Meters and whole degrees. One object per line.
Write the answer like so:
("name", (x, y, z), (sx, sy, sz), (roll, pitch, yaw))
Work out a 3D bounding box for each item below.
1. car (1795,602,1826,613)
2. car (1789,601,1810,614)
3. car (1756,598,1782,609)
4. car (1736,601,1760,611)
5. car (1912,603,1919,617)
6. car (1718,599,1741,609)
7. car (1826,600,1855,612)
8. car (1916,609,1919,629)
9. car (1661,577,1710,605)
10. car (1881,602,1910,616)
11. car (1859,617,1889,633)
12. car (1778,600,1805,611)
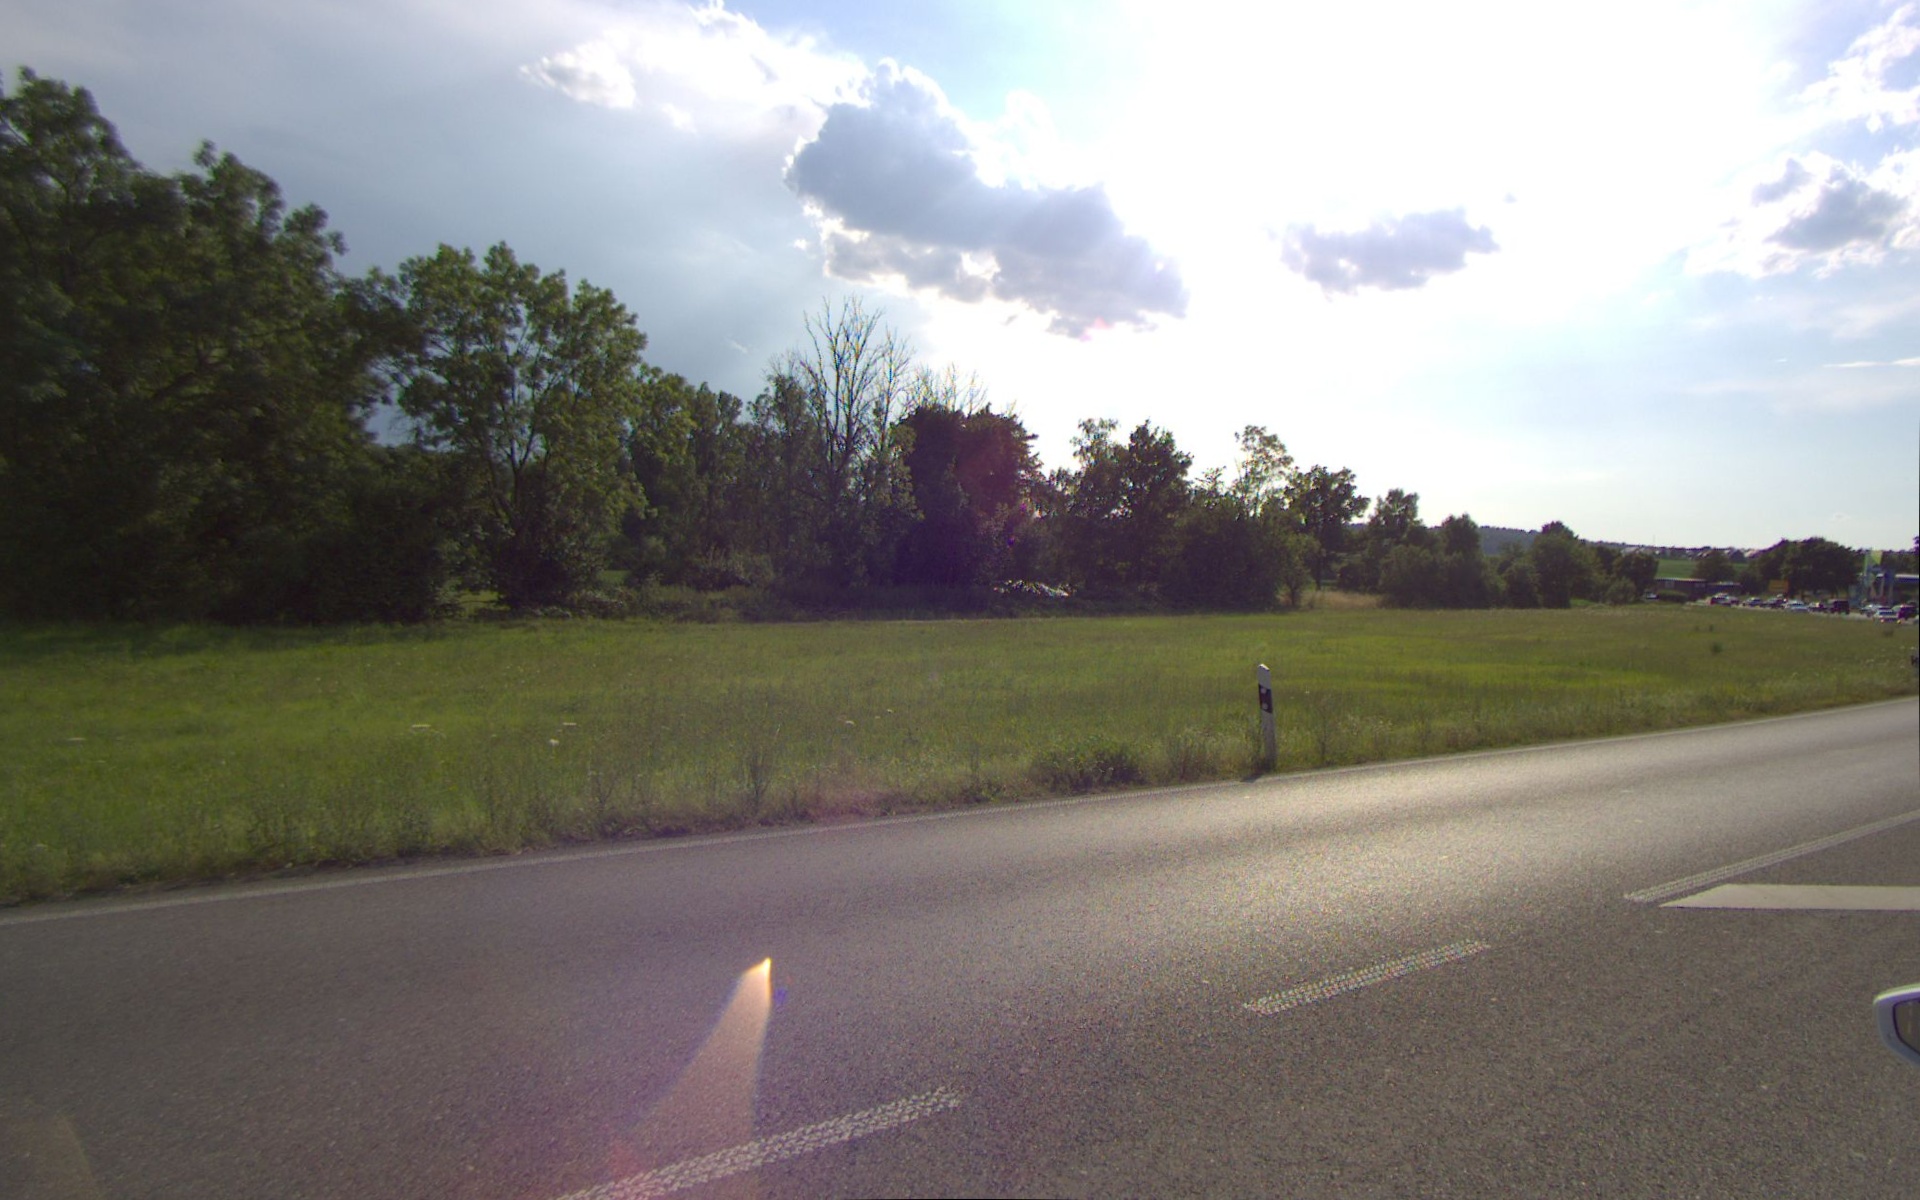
("car", (126.644, 1.100, 149.582), (2.050, 1.621, 4.001), (2, 1, 17))
("car", (114.531, 1.073, 137.064), (1.816, 1.678, 3.989), (2, 0, 34))
("car", (130.247, 0.524, 161.736), (1.850, 1.621, 4.001), (2, 1, 17))
("car", (133.158, 0.958, 169.732), (1.850, 1.621, 4.001), (2, 1, 17))
("car", (118.489, 1.252, 123.010), (2.056, 1.621, 3.989), (2, 1, 33))
("car", (134.954, 0.689, 176.151), (1.850, 1.621, 4.001), (2, 1, 17))
("car", (121.055, 0.826, 138.079), (2.053, 1.621, 3.994), (2, 1, 27))
("car", (86.318, 1.724, 88.979), (4.391, 1.748, 1.976), (0, 1, -41))
("car", (139.307, -1.715, 193.117), (3.481, 5.127, 13.245), (2, 1, 17))
("car", (112.627, 1.090, 120.998), (1.856, 1.621, 3.988), (2, 1, 33))
("car", (96.485, 2.642, 106.080), (1.816, 1.678, 3.988), (2, 0, 35))
("car", (128.700, 0.811, 155.478), (1.850, 1.621, 4.001), (2, 1, 17))
